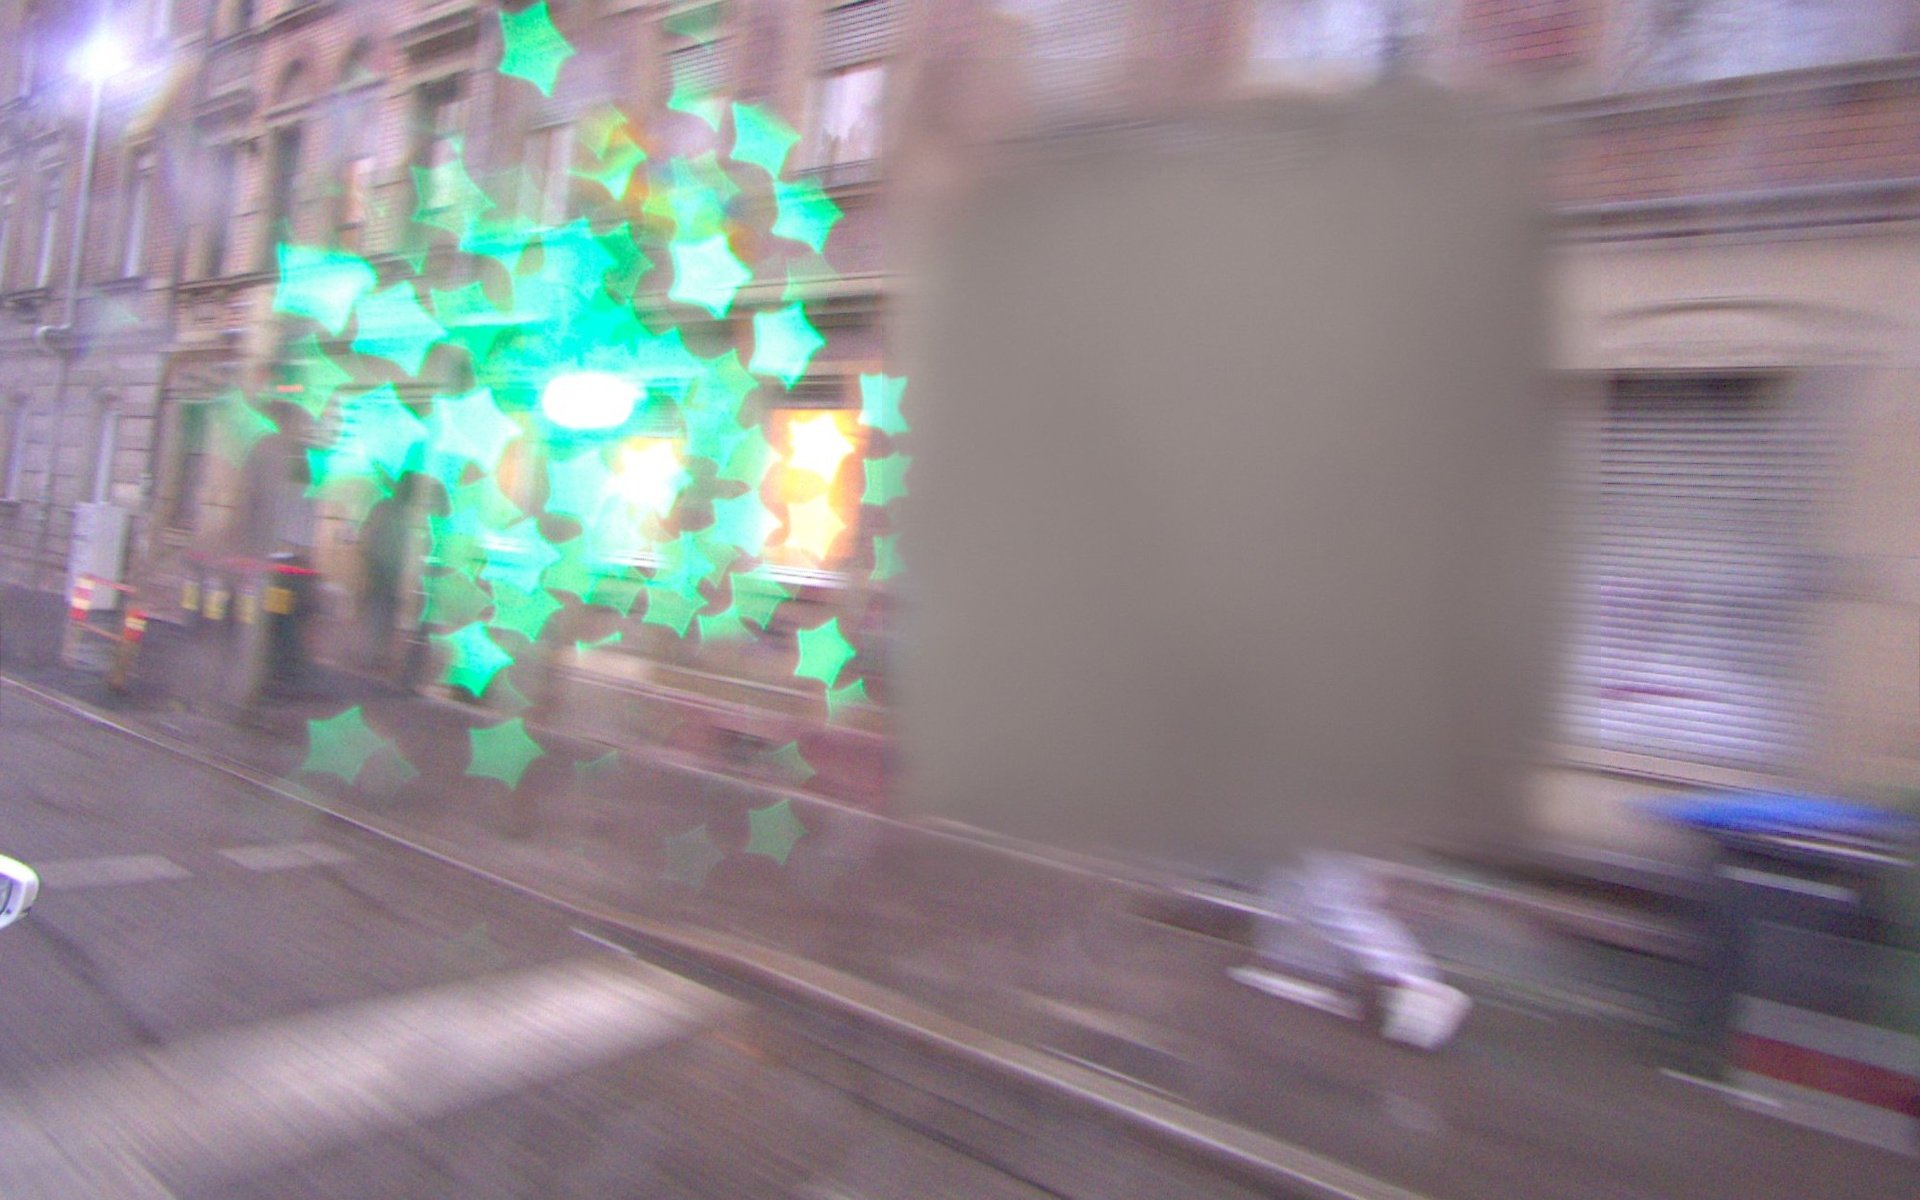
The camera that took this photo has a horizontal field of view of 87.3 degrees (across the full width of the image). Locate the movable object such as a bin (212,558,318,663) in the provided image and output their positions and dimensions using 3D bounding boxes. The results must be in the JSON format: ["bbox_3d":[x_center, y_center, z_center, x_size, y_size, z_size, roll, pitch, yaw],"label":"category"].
[{"bbox_3d":[-7.867,0.118,11.391,0.731,1.067,0.641,6,-1,31],"label":"movable object such as a bin"}]

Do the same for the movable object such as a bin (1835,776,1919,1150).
[{"bbox_3d":[4.282,1.455,3.726,1.239,1.304,0.890,7,0,25],"label":"movable object such as a bin"}]

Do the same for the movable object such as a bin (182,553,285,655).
[{"bbox_3d":[-8.508,0.049,11.785,0.731,1.067,0.641,6,-1,31],"label":"movable object such as a bin"}]

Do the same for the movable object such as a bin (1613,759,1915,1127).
[{"bbox_3d":[3.414,1.392,4.375,0.805,1.225,0.766,7,0,31],"label":"movable object such as a bin"}]

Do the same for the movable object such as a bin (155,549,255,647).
[{"bbox_3d":[-9.141,-0.019,12.184,0.731,1.067,0.641,6,-1,31],"label":"movable object such as a bin"}]

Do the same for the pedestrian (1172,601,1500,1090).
[{"bbox_3d":[1.598,0.919,4.275,0.939,1.723,0.833,6,2,40],"label":"pedestrian"}]
